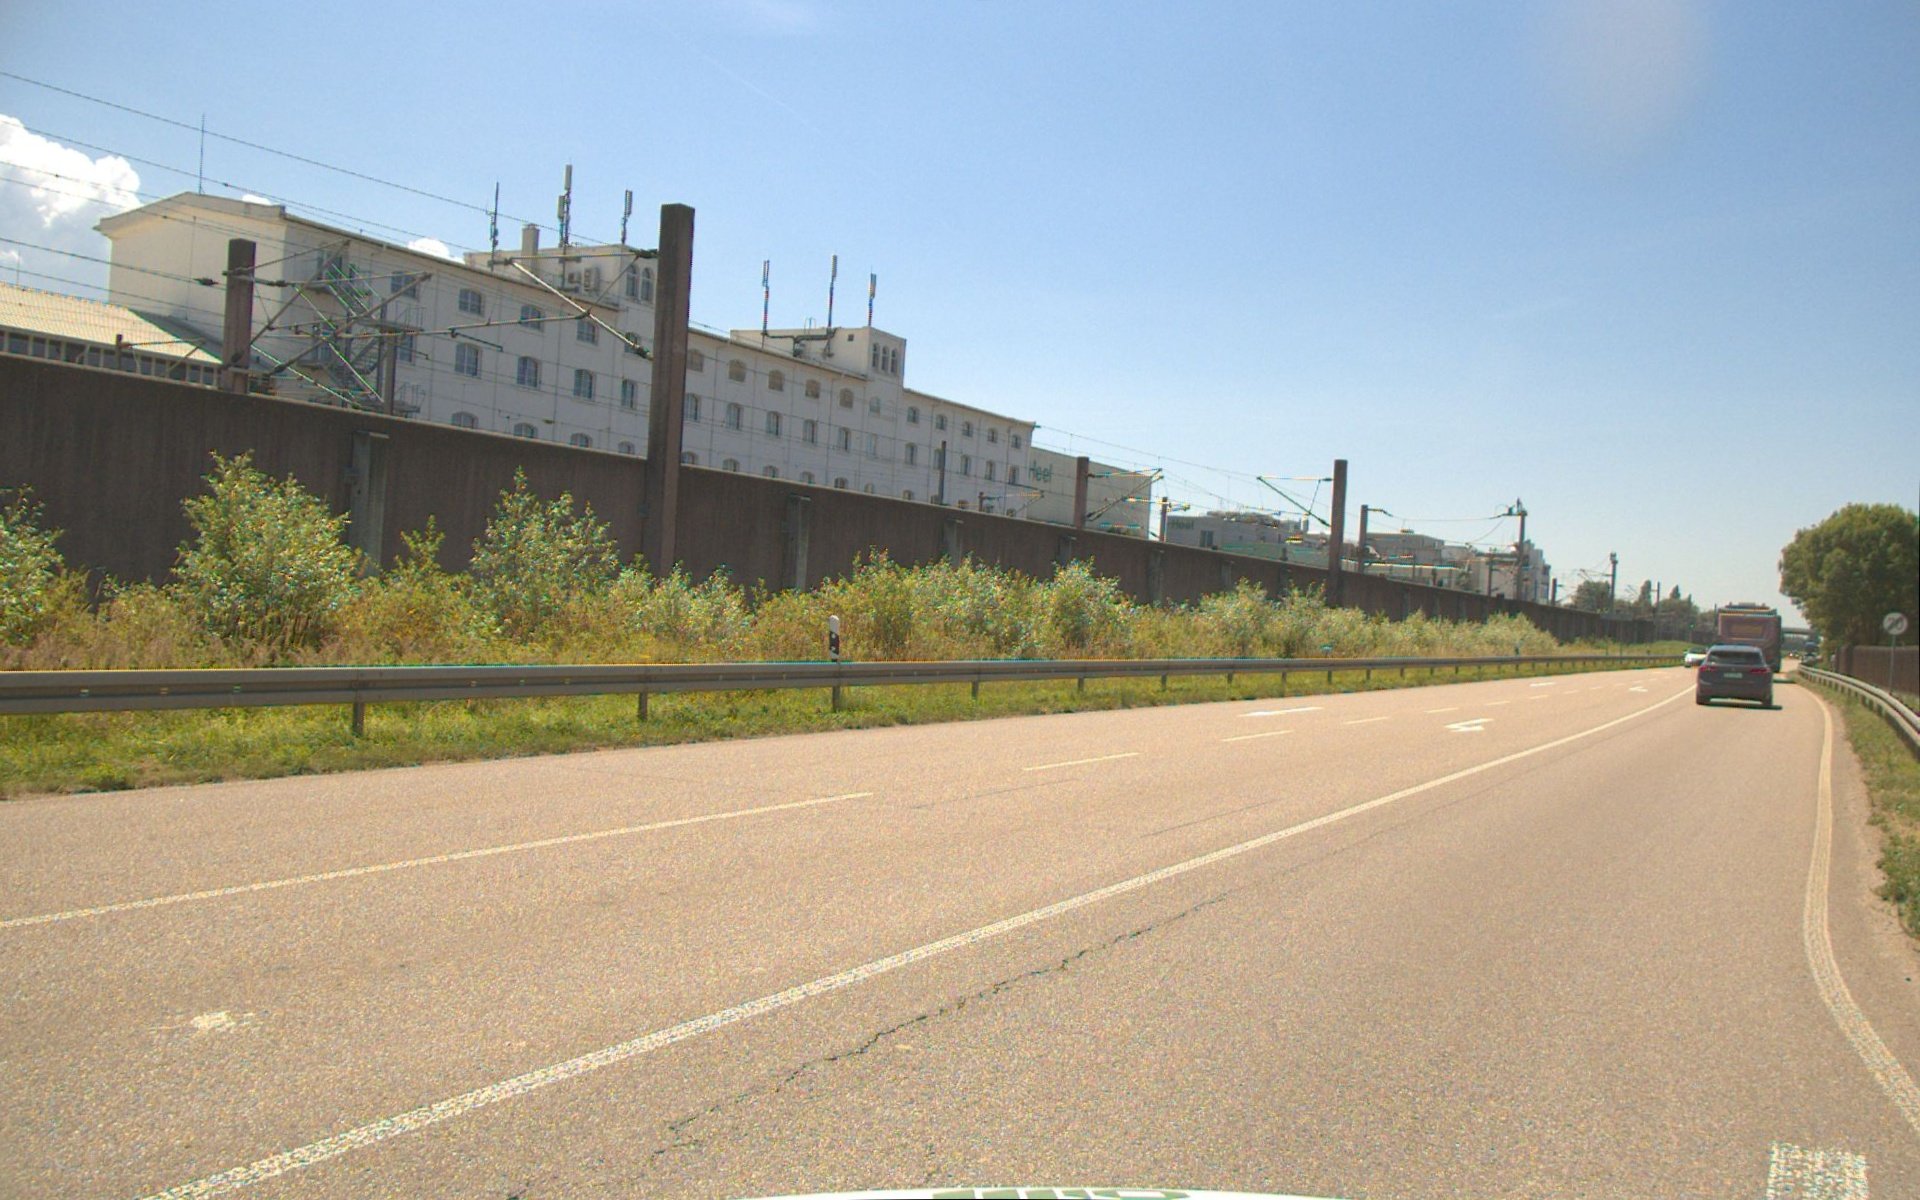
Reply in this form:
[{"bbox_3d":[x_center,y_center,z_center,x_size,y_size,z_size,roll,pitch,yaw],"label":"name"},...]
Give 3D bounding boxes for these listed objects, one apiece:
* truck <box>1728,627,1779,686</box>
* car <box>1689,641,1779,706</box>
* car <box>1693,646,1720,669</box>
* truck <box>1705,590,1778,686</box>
[{"bbox_3d":[55.130,3.976,114.742,2.938,3.785,10.546,2,-2,27],"label":"truck"},{"bbox_3d":[20.556,1.970,43.871,1.955,1.529,3.994,3,-2,27],"label":"car"},{"bbox_3d":[54.340,4.159,120.328,1.639,1.528,3.718,2,-1,26],"label":"car"},{"bbox_3d":[38.401,1.973,81.213,2.937,4.253,11.795,2,-2,26],"label":"truck"}]
